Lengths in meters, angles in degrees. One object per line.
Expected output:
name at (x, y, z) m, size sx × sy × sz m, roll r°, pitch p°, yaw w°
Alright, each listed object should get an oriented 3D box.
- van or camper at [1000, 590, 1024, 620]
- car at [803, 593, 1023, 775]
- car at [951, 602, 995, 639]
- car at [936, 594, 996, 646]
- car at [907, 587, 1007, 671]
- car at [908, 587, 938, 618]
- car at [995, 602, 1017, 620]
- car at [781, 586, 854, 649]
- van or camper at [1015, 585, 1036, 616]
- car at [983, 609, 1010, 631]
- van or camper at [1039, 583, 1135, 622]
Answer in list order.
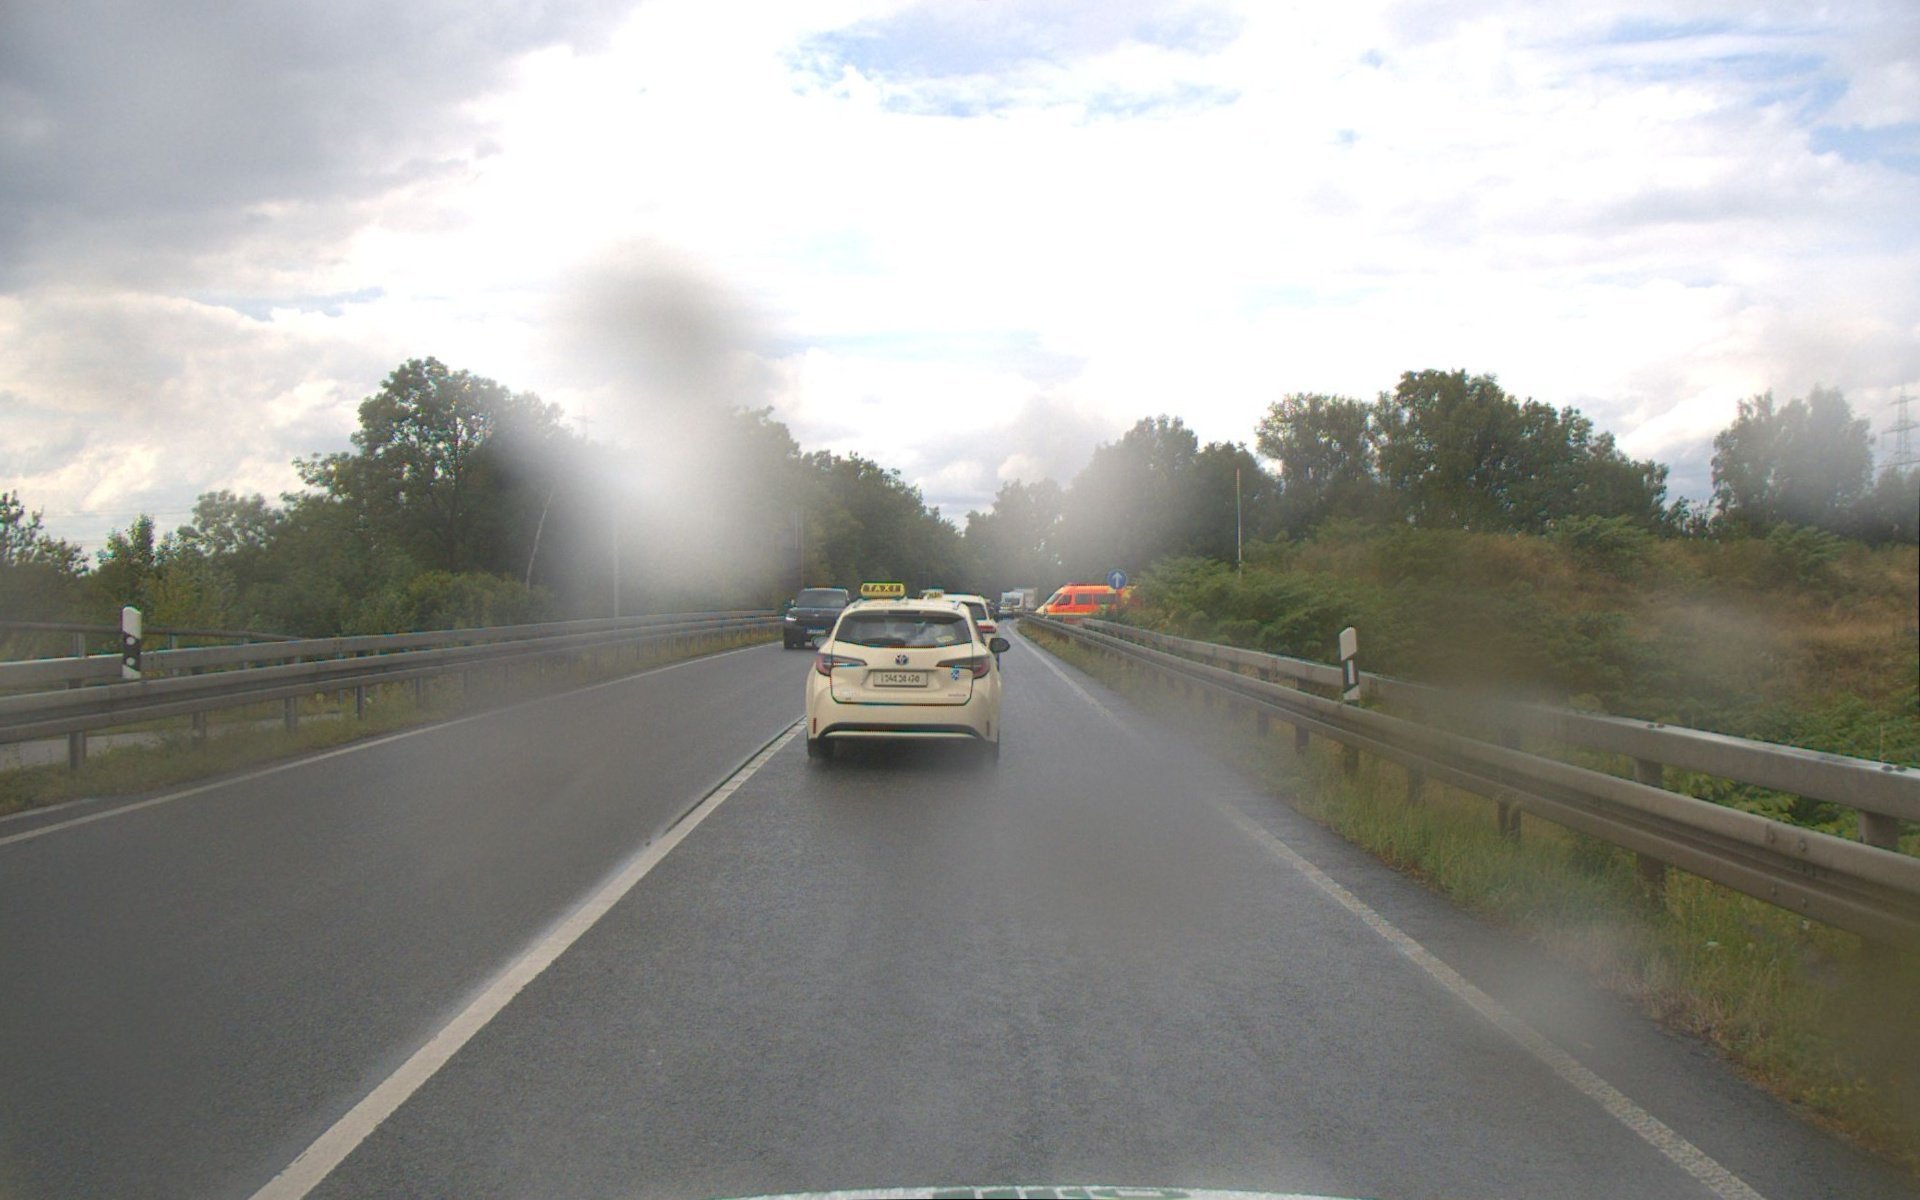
van or camper at (5.352, 0.495, 170.970) m, size 2.285 × 2.914 × 6.307 m, roll 1°, pitch 1°, yaw 1°
car at (-0.420, 0.695, 15.941) m, size 1.817 × 1.418 × 4.170 m, roll 1°, pitch 1°, yaw -1°
car at (0.551, 0.885, 72.976) m, size 1.817 × 1.468 × 4.170 m, roll 1°, pitch 1°, yaw -1°
car at (0.155, 0.613, 52.277) m, size 1.817 × 1.468 × 4.170 m, roll 1°, pitch 1°, yaw -1°
car at (-0.085, 0.525, 32.659) m, size 1.817 × 1.468 × 4.170 m, roll 1°, pitch 1°, yaw -1°
car at (-2.681, 0.141, 120.501) m, size 1.952 × 2.165 × 4.895 m, roll 1°, pitch 1°, yaw 0°
car at (4.151, 0.983, 148.015) m, size 1.816 × 1.468 × 4.172 m, roll 1°, pitch 1°, yaw 3°
car at (-3.833, 0.437, 45.095) m, size 1.743 × 1.588 × 4.300 m, roll 1°, pitch 1°, yaw -2°
van or camper at (7.824, 0.027, 198.747) m, size 2.285 × 3.624 × 6.307 m, roll 1°, pitch 1°, yaw 1°
car at (2.699, 1.460, 121.620) m, size 1.816 × 1.468 × 4.172 m, roll 1°, pitch 1°, yaw 3°
van or camper at (7.872, 0.148, 102.374) m, size 5.584 × 2.280 × 2.012 m, roll 1°, pitch 0°, yaw -15°
